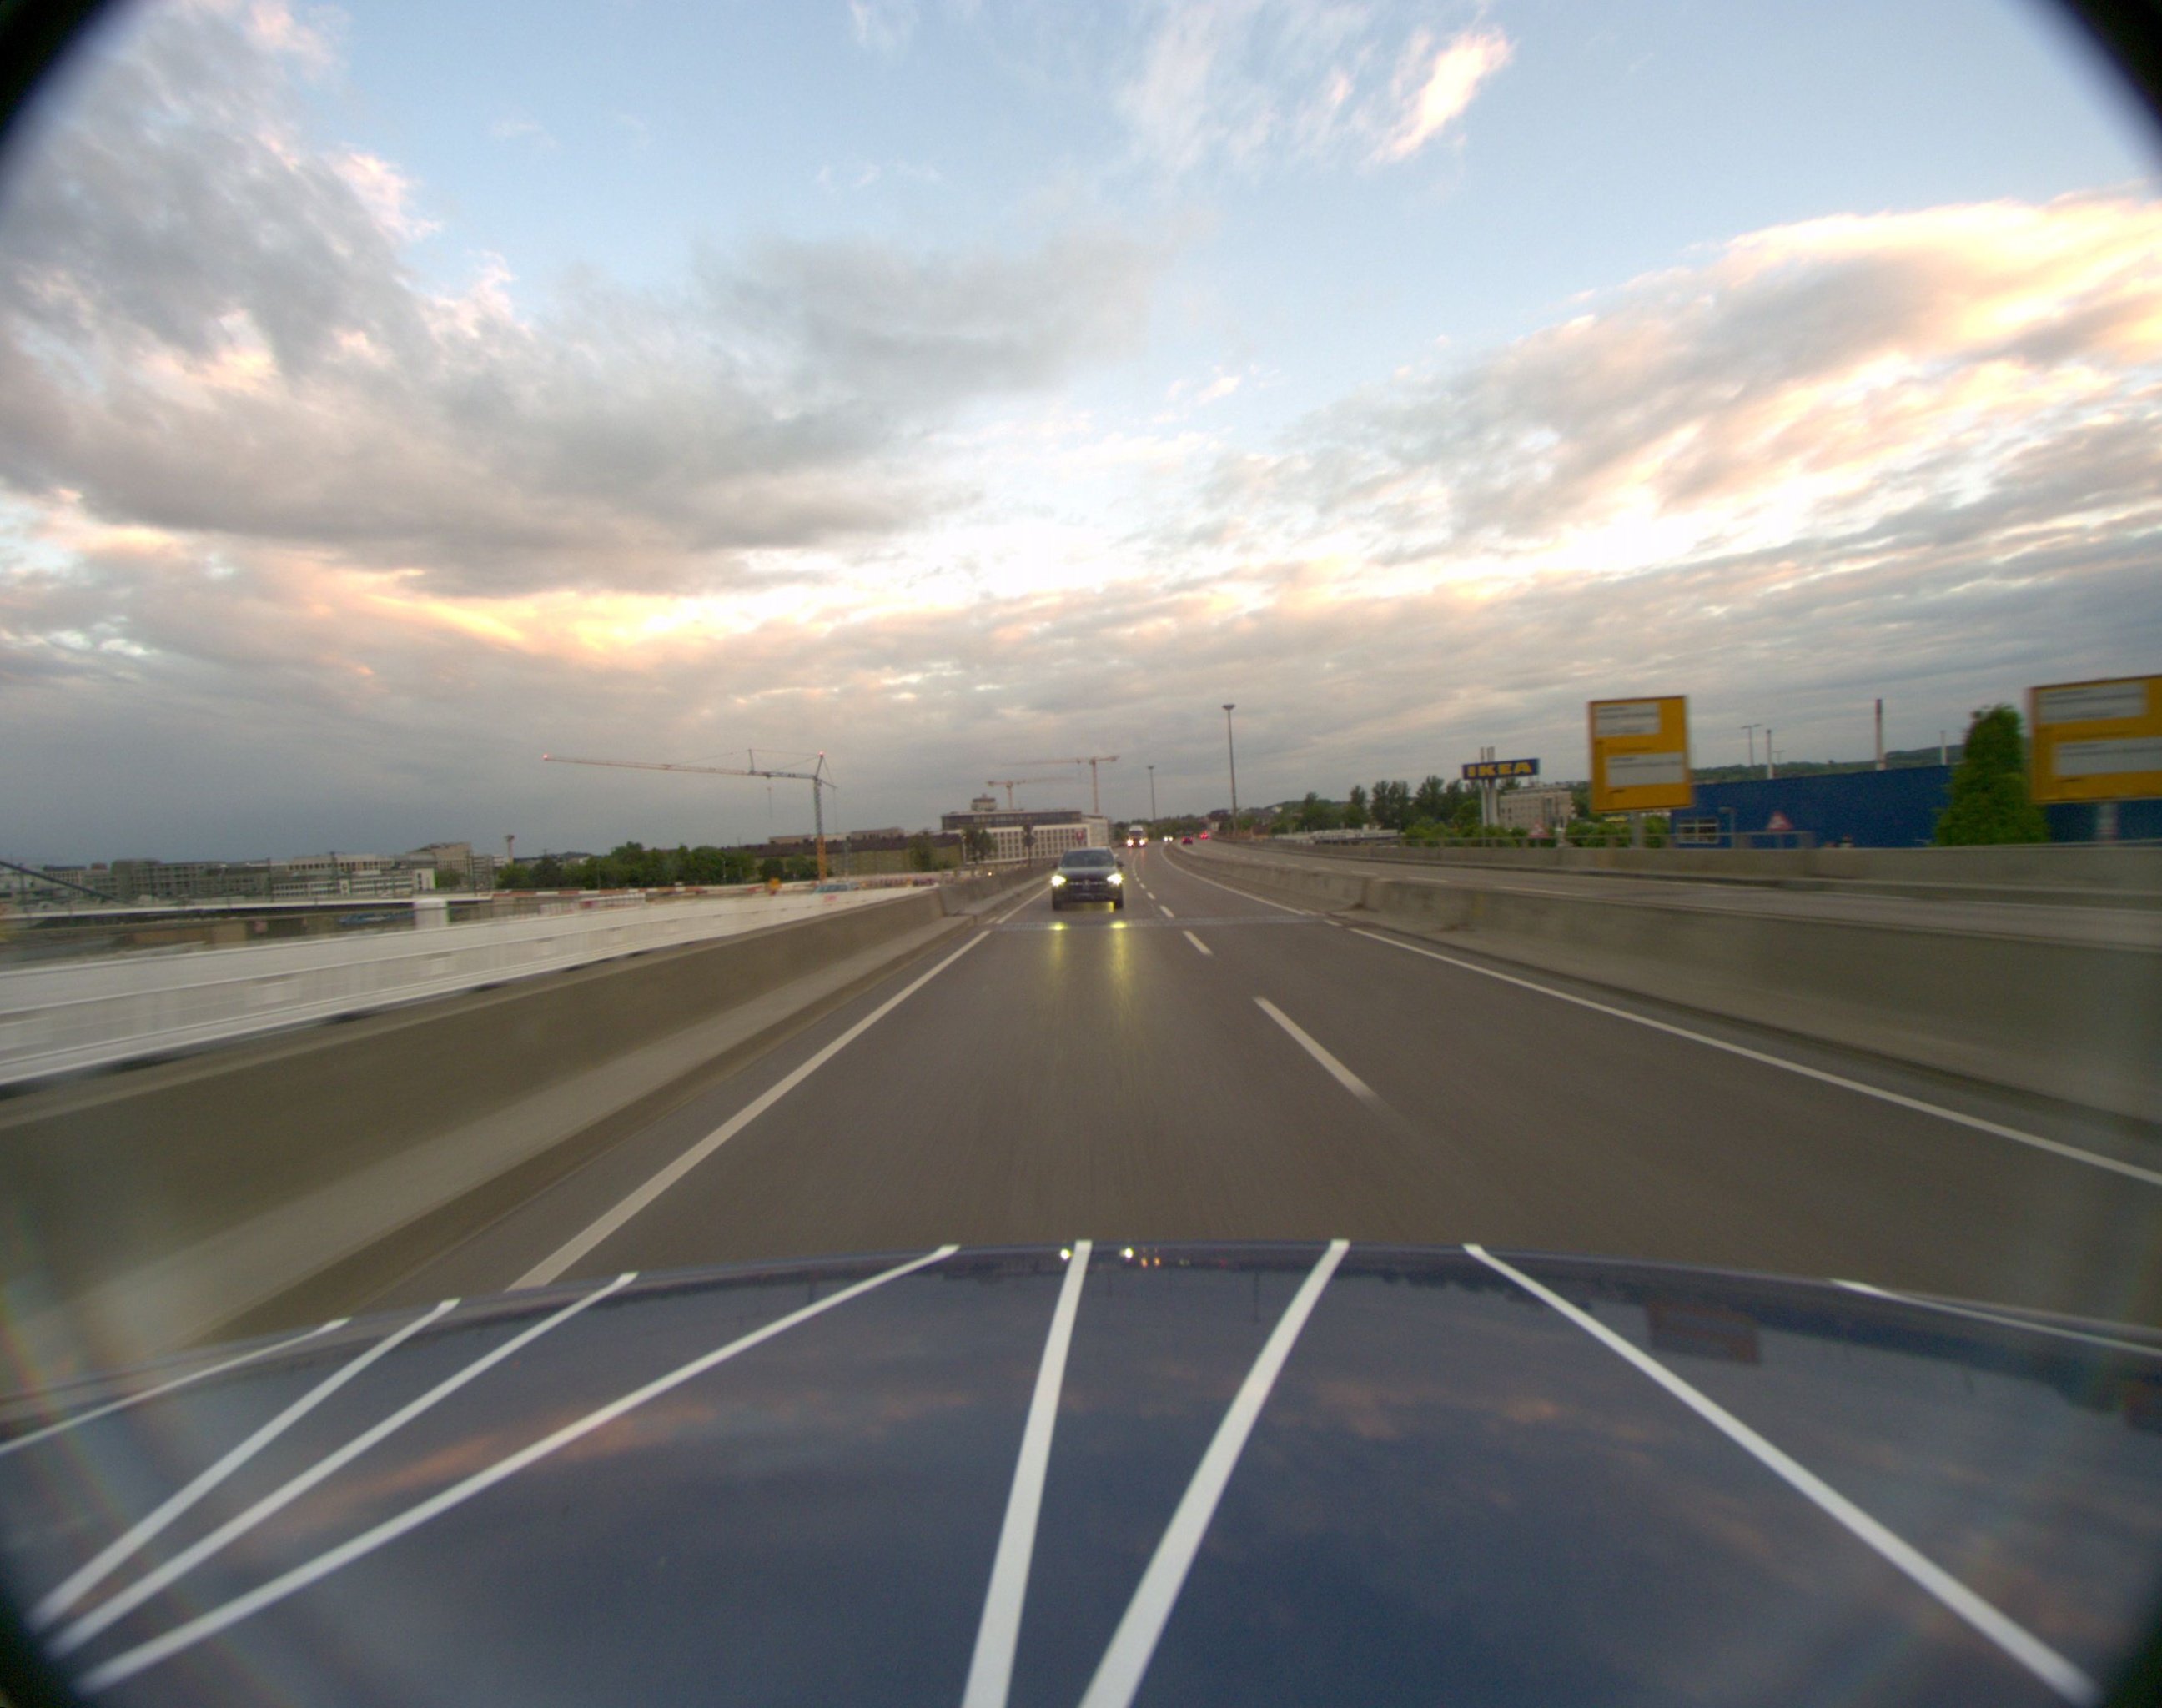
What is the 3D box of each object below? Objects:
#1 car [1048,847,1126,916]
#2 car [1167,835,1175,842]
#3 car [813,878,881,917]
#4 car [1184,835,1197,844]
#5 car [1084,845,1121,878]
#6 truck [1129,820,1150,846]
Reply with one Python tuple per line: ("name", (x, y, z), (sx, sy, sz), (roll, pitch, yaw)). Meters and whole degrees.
("car", (0.265, 0.670, 20.885), (1.823, 1.603, 4.213), (-2, 1, 4))
("car", (24.797, -4.262, 209.756), (1.997, 2.002, 4.001), (-2, 1, 8))
("car", (-10.544, 1.914, 34.536), (1.754, 1.482, 4.000), (-2, 0, 0))
("car", (19.014, -2.574, 132.039), (1.833, 1.472, 4.287), (-2, 2, 4))
("car", (1.146, 0.403, 42.086), (1.891, 1.641, 4.343), (-3, 0, 0))
("truck", (10.612, -3.774, 137.102), (3.164, 4.370, 8.795), (-2, 2, 8))
